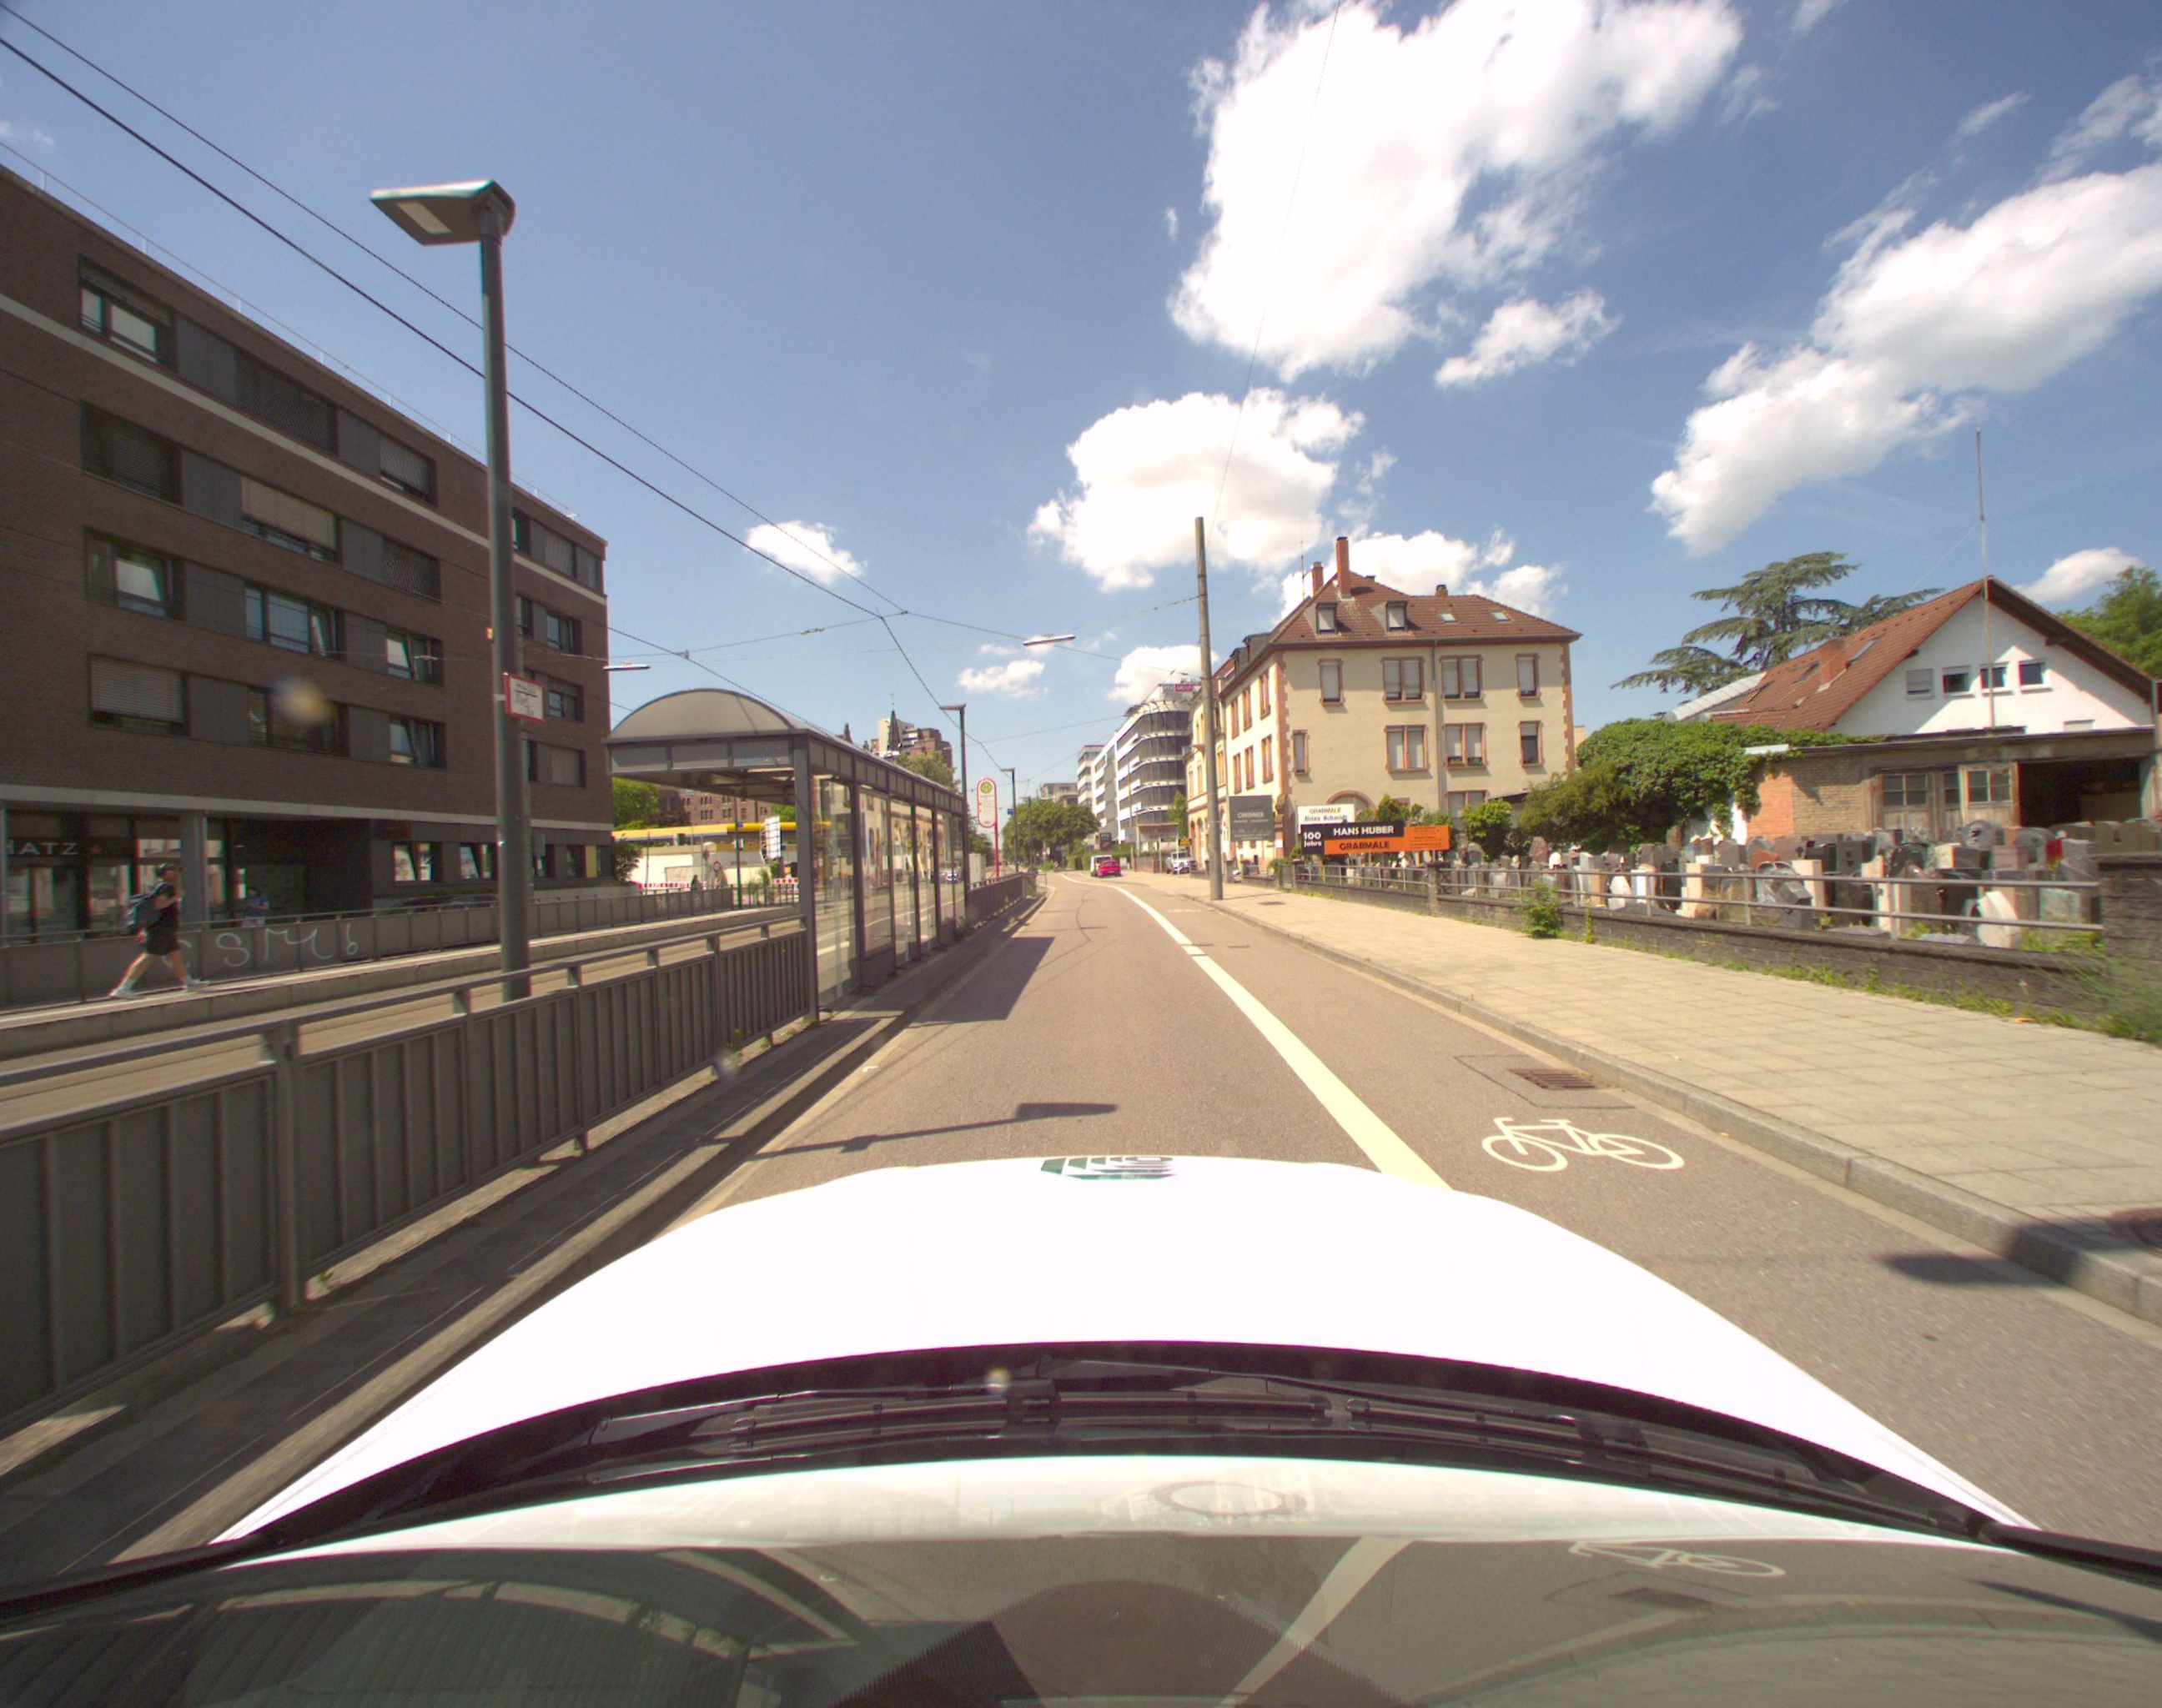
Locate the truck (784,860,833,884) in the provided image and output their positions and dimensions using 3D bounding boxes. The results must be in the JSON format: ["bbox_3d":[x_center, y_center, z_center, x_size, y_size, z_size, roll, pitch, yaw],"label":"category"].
[{"bbox_3d":[-29.641,1.908,88.803,1.975,2.498,5.233,-2,-1,25],"label":"truck"}]

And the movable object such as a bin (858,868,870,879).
[{"bbox_3d":[-29.508,2.662,110.506,1.337,1.354,0.759,-2,-1,6],"label":"movable object such as a bin"}]

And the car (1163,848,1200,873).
[{"bbox_3d":[7.374,0.514,60.429,1.874,1.624,4.634,-5,0,-3],"label":"car"}]

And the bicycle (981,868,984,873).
[{"bbox_3d":[-25.249,4.198,208.496,0.700,1.204,2.235,-4,-1,-6],"label":"bicycle"}]

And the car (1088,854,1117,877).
[{"bbox_3d":[1.960,1.089,77.324,1.991,1.991,5.504,-4,0,-5],"label":"car"}]

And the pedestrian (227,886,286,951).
[{"bbox_3d":[-21.268,1.642,21.021,0.683,1.596,0.761,-3,-1,1],"label":"pedestrian"}]

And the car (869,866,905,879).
[{"bbox_3d":[-26.354,2.542,110.720,1.974,1.590,4.361,-3,-1,39],"label":"car"}]

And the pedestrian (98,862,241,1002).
[{"bbox_3d":[-12.267,1.009,11.000,0.683,1.760,1.034,-3,-1,1],"label":"pedestrian"}]

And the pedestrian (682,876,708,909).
[{"bbox_3d":[-18.785,1.867,39.675,0.758,1.596,0.999,1,-1,-3],"label":"pedestrian"}]

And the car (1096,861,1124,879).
[{"bbox_3d":[2.497,1.354,70.629,1.989,1.442,4.011,-2,-1,-4],"label":"car"}]

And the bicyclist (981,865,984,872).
[{"bbox_3d":[-25.144,3.751,208.427,0.641,1.679,0.813,-2,-1,-7],"label":"bicyclist"}]
